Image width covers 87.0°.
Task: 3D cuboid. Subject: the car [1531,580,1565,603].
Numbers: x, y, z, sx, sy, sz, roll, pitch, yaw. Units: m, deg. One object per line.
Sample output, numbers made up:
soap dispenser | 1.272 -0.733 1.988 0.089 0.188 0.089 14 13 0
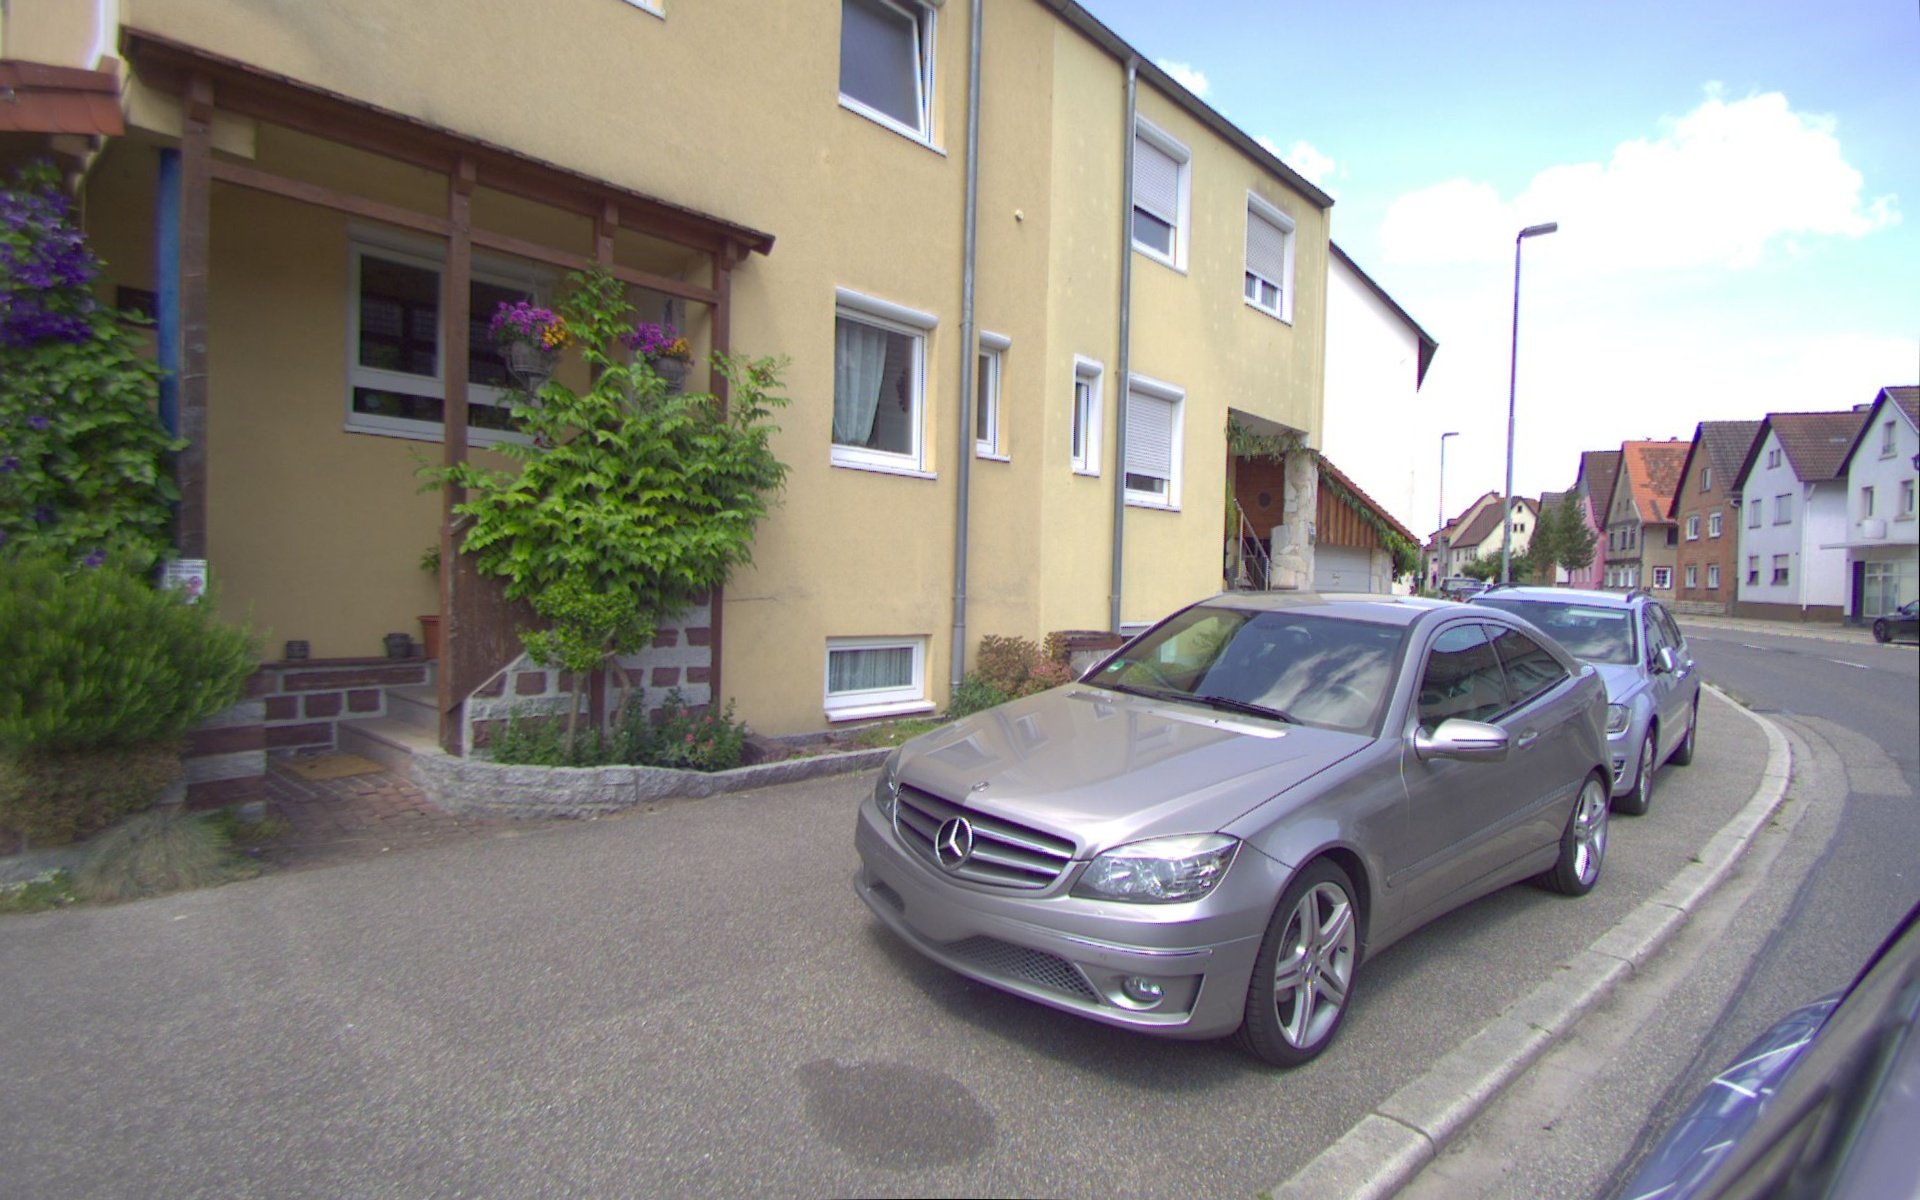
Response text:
car | 43.210 -0.624 74.431 1.665 1.549 3.474 0 2 22

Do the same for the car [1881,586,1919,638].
car | 27.439 0.345 27.736 1.789 1.438 4.516 0 0 22

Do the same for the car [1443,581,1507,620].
car | 23.005 -0.017 45.333 1.641 1.668 3.985 0 1 13

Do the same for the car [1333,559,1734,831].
car | 4.869 0.524 8.279 1.885 1.548 4.269 5 4 42

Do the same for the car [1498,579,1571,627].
car | 20.162 0.118 35.661 1.754 1.549 3.967 1 -1 23

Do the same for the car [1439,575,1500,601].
car | 39.043 -0.959 77.717 1.961 1.822 4.940 -1 2 -3

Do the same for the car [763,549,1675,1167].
car | 1.486 0.538 4.513 4.349 1.416 1.774 -2 5 -42

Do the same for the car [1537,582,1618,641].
car | 17.156 0.260 28.256 1.713 1.402 3.961 2 3 29
